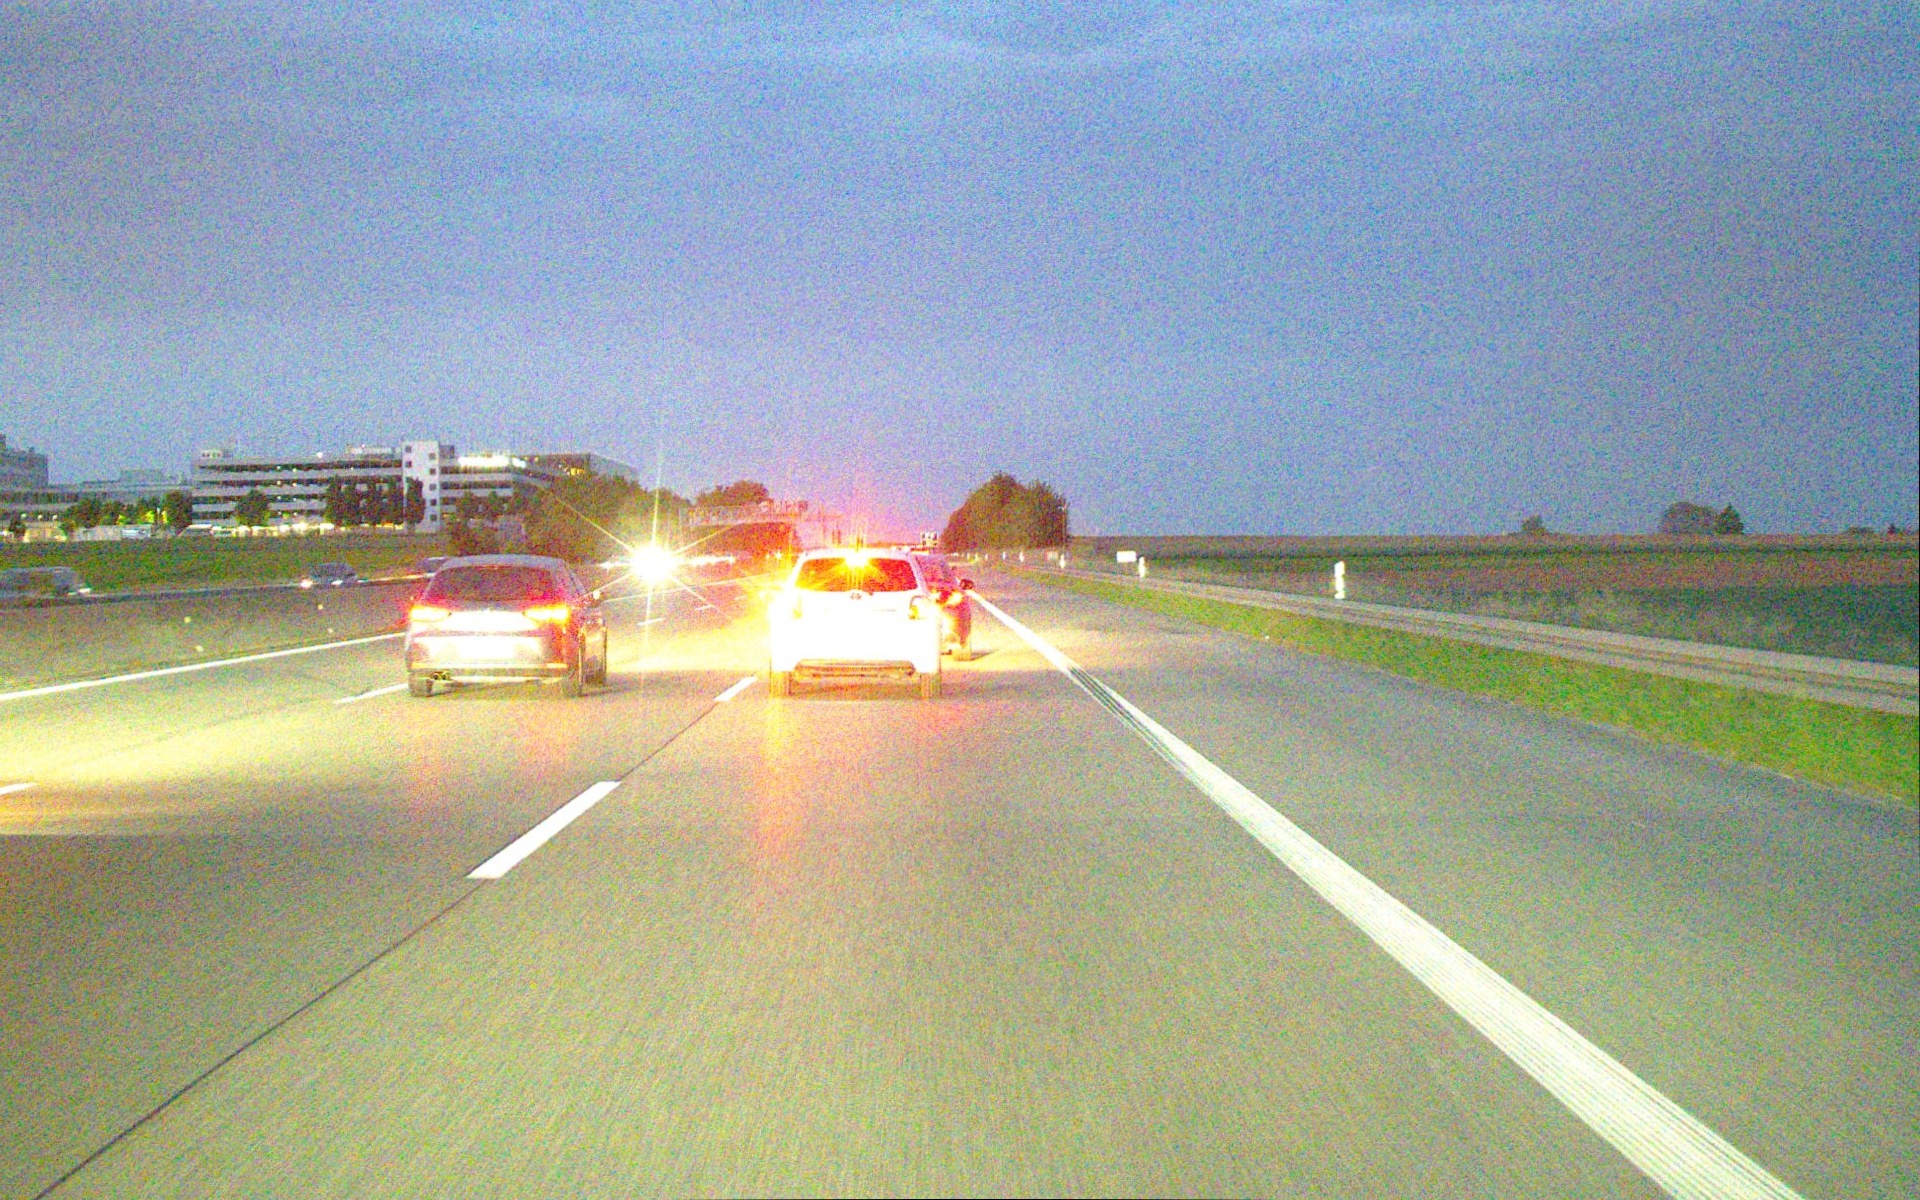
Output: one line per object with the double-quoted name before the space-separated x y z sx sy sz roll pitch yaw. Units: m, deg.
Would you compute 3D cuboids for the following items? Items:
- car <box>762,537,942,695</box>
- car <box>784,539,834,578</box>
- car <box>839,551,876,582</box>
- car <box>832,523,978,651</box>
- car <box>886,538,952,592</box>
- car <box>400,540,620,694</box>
"car" -1.072 0.143 35.925 1.744 1.519 4.414 1 0 0
"car" -6.008 -1.645 137.295 1.880 1.547 4.000 1 0 -1
"car" -6.274 -2.051 211.765 2.199 1.873 4.000 1 0 -1
"car" -0.743 -0.178 46.591 1.880 1.637 4.000 1 0 -1
"car" -1.241 -1.032 101.822 1.880 1.547 4.000 1 0 -1
"car" -4.577 0.152 35.558 1.722 1.466 4.726 1 0 -1
